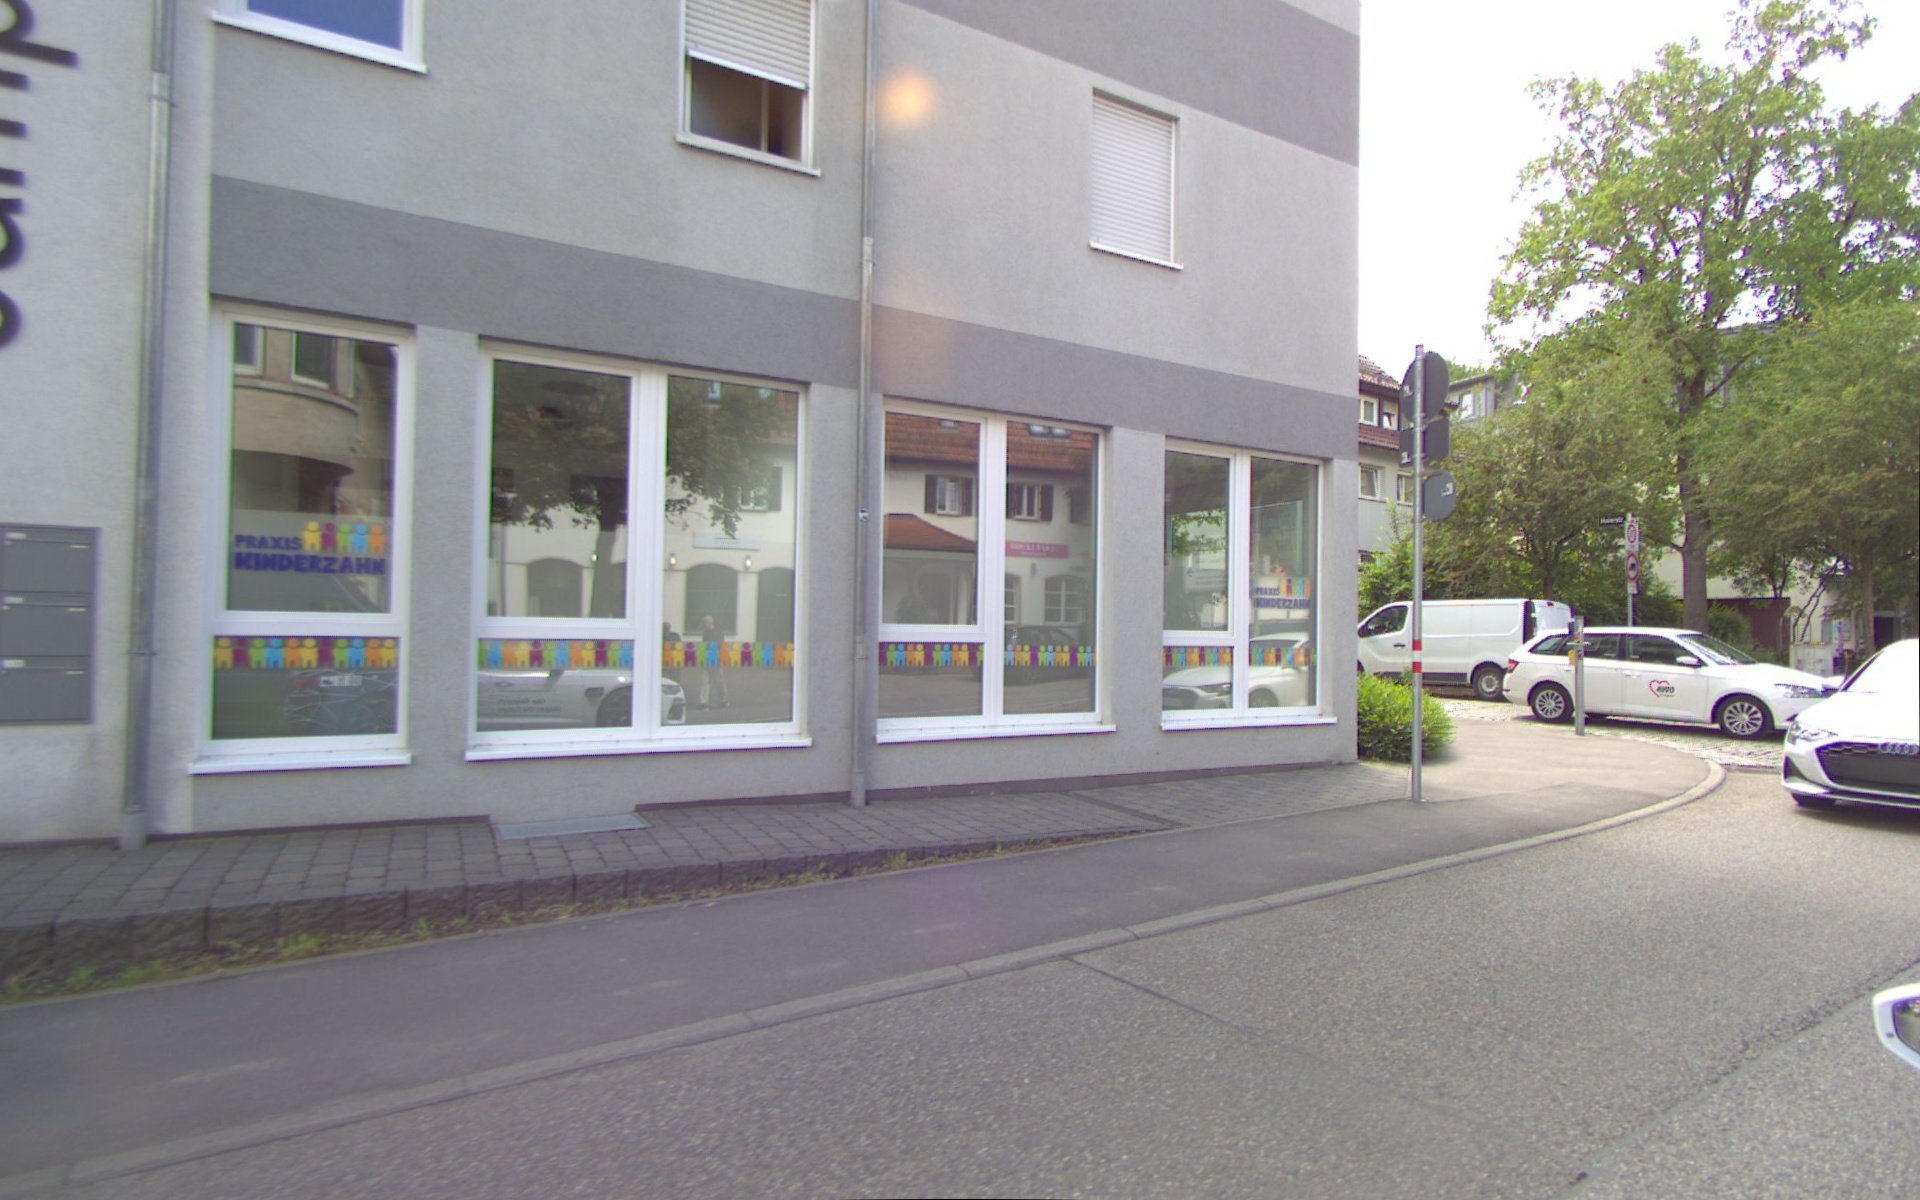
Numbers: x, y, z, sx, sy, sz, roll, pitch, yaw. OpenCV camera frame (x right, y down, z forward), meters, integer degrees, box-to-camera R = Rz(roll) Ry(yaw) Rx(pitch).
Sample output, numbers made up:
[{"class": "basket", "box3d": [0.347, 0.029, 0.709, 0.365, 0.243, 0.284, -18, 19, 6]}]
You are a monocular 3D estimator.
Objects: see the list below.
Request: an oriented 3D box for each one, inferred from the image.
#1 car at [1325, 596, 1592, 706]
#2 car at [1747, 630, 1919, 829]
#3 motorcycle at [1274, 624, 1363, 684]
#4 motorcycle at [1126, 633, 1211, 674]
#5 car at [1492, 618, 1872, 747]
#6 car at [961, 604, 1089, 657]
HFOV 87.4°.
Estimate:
[{"class": "car", "box3d": [10.255, 0.962, 21.006, 2.074, 2.036, 4.591, 1, -1, -34]}, {"class": "car", "box3d": [8.685, 0.995, 8.597, 4.071, 1.443, 1.863, 1, -1, -33]}, {"class": "motorcycle", "box3d": [8.483, 1.260, 23.745, 2.110, 1.350, 0.837, 2, -1, -30]}, {"class": "motorcycle", "box3d": [5.670, 1.415, 27.193, 1.189, 1.018, 2.324, 0, -1, 45]}, {"class": "car", "box3d": [10.342, 1.069, 14.734, 1.802, 1.534, 4.188, 0, 0, -32]}, {"class": "car", "box3d": [2.044, 0.955, 32.529, 2.018, 1.597, 4.118, 1, -1, -35]}]
